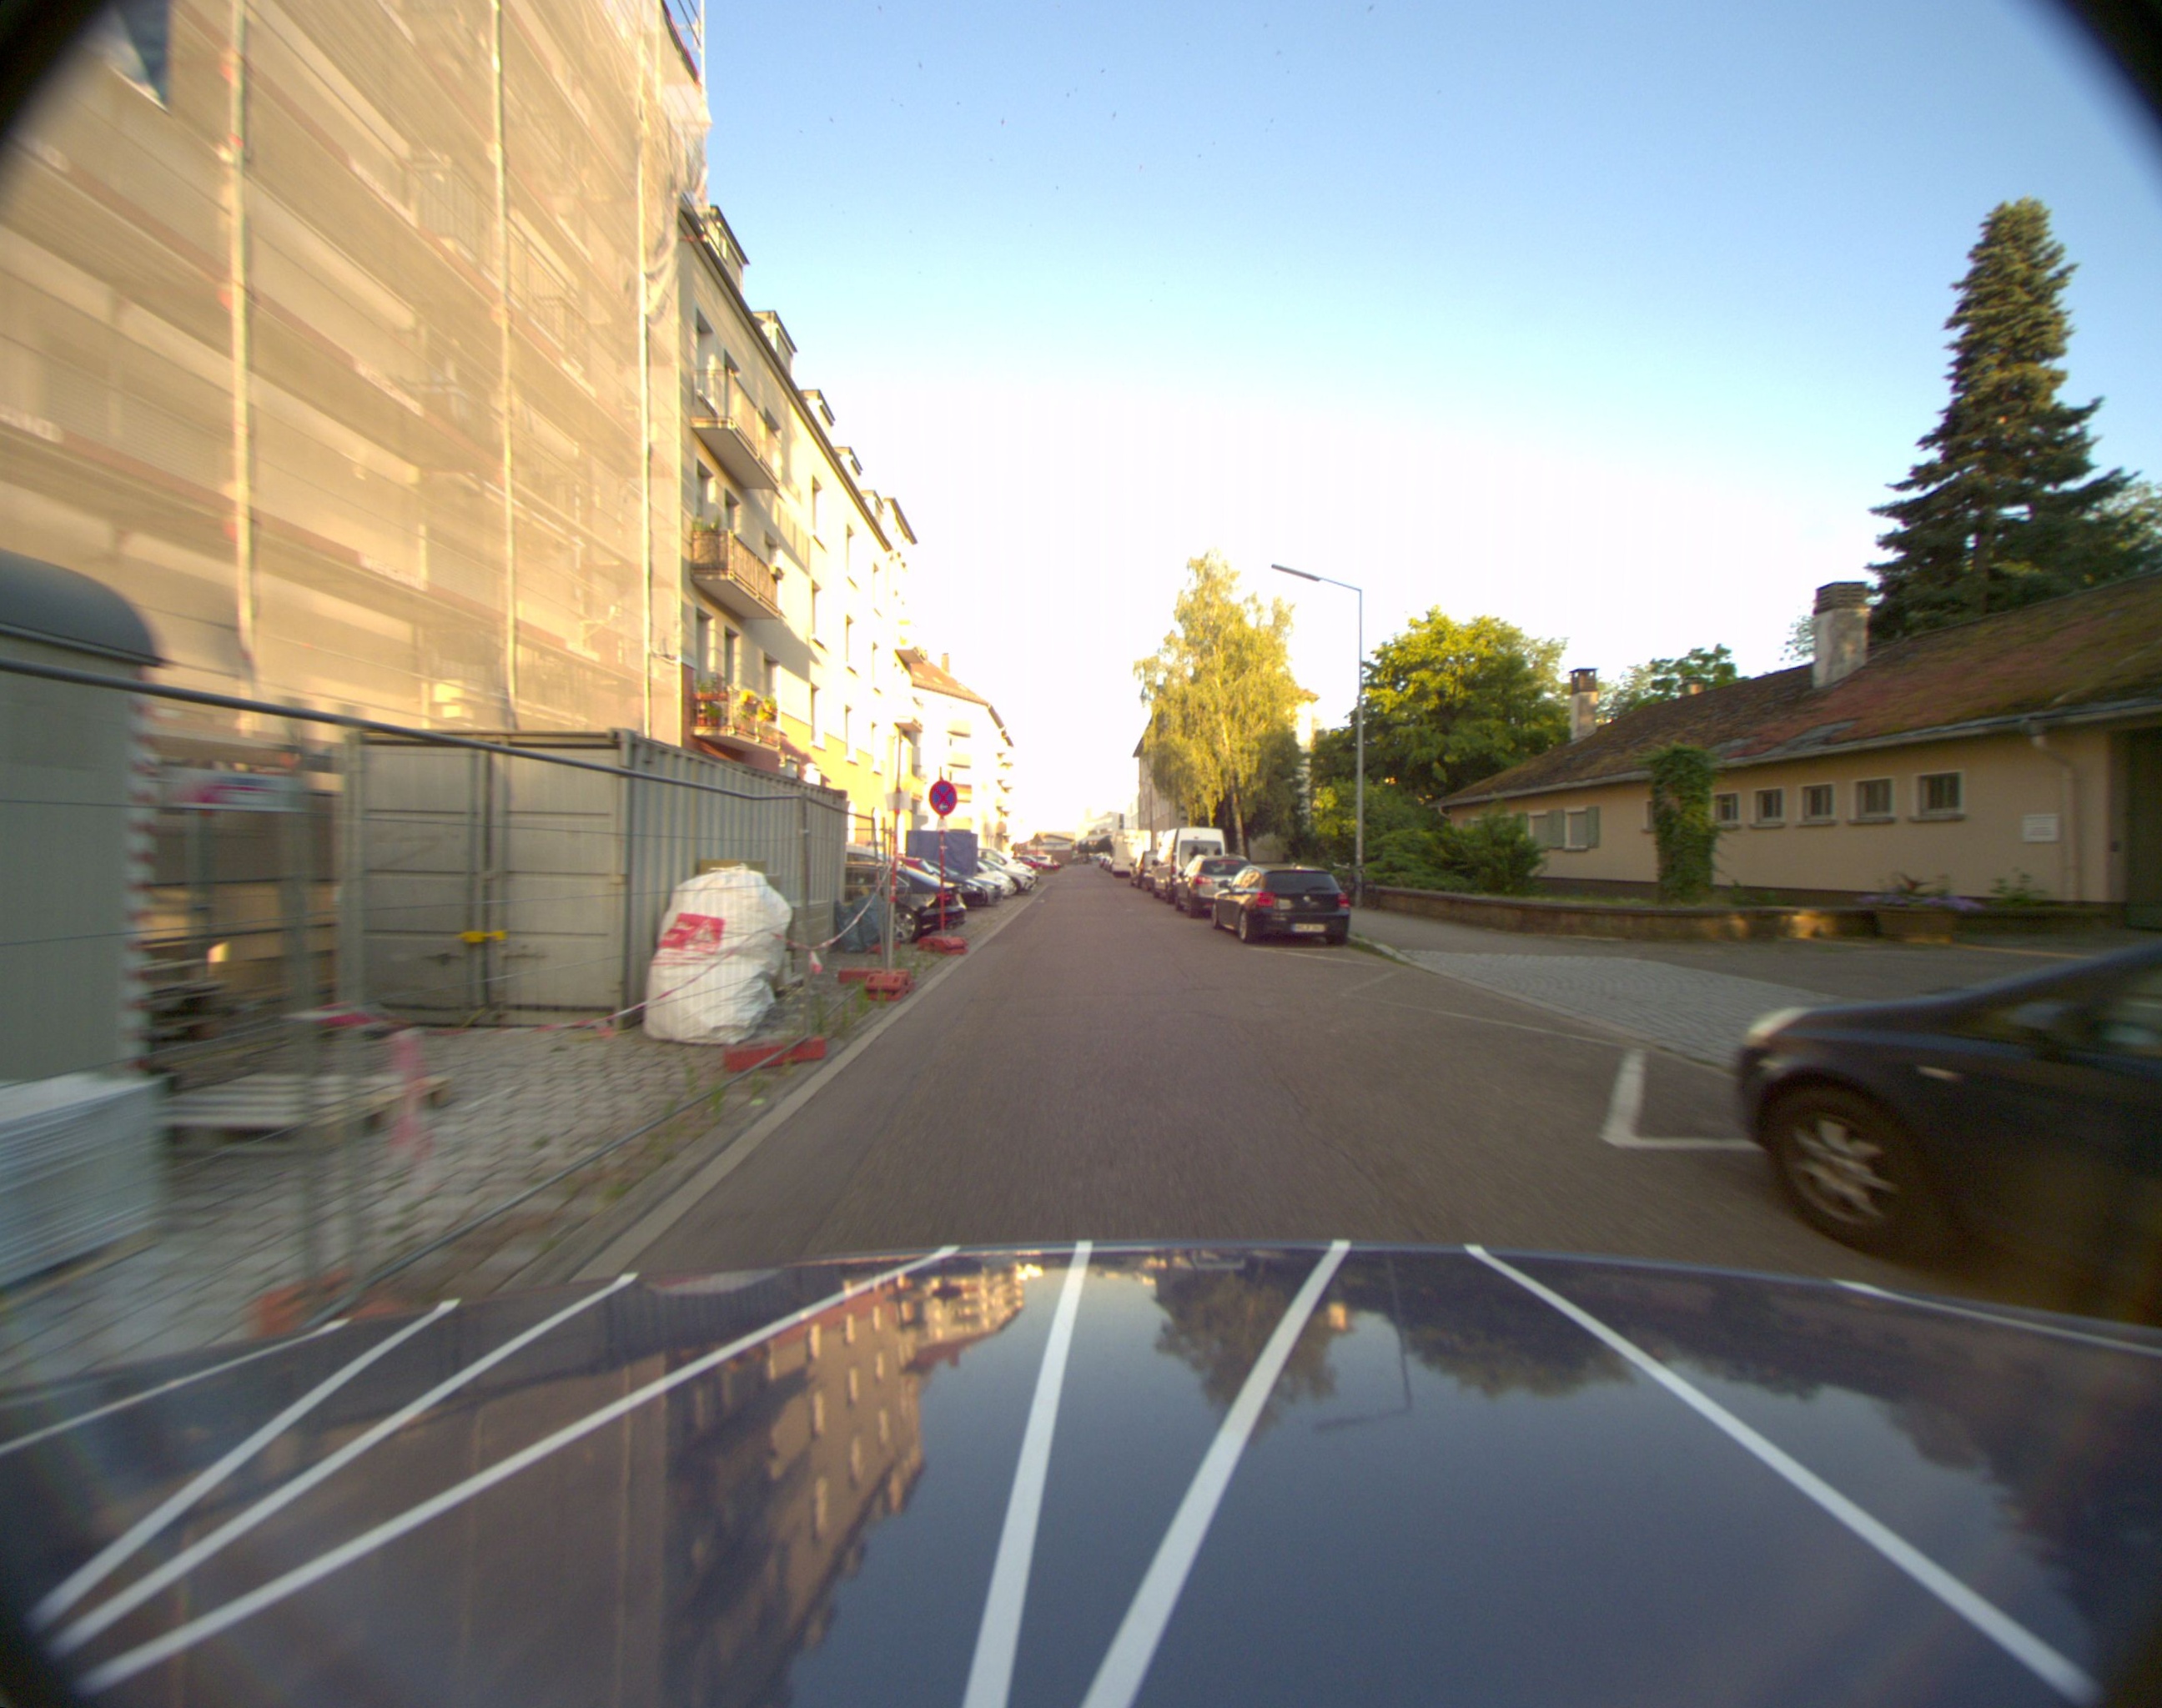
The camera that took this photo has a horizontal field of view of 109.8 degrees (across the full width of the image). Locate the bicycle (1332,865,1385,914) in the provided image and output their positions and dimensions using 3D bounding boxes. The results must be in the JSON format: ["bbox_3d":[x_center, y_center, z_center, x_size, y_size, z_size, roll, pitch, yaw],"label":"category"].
[{"bbox_3d":[6.921,0.860,19.018,0.545,1.111,1.955,-1,0,-1],"label":"bicycle"}]

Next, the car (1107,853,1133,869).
[{"bbox_3d":[3.606,0.613,70.709,1.999,1.436,4.431,-1,0,-2],"label":"car"}]

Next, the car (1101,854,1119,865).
[{"bbox_3d":[3.724,0.695,98.214,1.999,1.481,4.431,-1,0,-2],"label":"car"}]

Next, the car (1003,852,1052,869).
[{"bbox_3d":[-4.898,0.560,69.548,4.311,1.532,1.923,0,0,1],"label":"car"}]

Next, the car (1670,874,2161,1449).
[{"bbox_3d":[3.866,0.840,1.628,1.999,1.444,3.999,-1,0,-3],"label":"car"}]

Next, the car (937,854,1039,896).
[{"bbox_3d":[-3.745,0.844,31.246,3.998,1.630,1.999,0,1,-2],"label":"car"}]

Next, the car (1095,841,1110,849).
[{"bbox_3d":[5.795,-2.317,202.071,3.997,2.002,2.000,0,0,0],"label":"car"}]

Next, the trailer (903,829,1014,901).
[{"bbox_3d":[-4.198,0.372,26.557,3.577,2.323,1.940,2,0,-3],"label":"trailer"}]

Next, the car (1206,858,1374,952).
[{"bbox_3d":[3.711,0.825,14.337,1.998,1.444,4.288,-1,0,0],"label":"car"}]

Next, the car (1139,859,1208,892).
[{"bbox_3d":[3.749,0.842,31.436,1.999,1.182,4.034,-1,0,-5],"label":"car"}]

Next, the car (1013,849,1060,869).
[{"bbox_3d":[-4.496,0.466,77.472,4.685,1.988,2.000,0,0,1],"label":"car"}]

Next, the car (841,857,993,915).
[{"bbox_3d":[-4.578,0.872,21.677,3.975,1.562,1.788,0,0,-3],"label":"car"}]

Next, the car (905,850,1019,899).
[{"bbox_3d":[-4.404,0.749,28.605,3.998,1.718,1.999,0,2,-2],"label":"car"}]

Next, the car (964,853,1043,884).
[{"bbox_3d":[-4.127,0.754,40.928,4.113,1.576,1.854,0,0,-3],"label":"car"}]

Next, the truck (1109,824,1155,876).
[{"bbox_3d":[3.518,-0.283,54.062,2.532,3.334,8.016,2,0,0],"label":"truck"}]

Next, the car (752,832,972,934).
[{"bbox_3d":[-4.654,0.630,16.686,4.278,1.968,1.821,2,-1,-4],"label":"car"}]

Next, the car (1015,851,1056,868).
[{"bbox_3d":[-4.469,0.502,74.564,3.998,1.619,1.784,0,0,-2],"label":"car"}]

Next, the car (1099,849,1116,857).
[{"bbox_3d":[6.310,-0.204,178.945,3.997,1.739,2.000,0,0,1],"label":"car"}]

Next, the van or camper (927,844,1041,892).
[{"bbox_3d":[-4.272,0.600,33.973,4.846,2.084,2.040,0,0,-1],"label":"van or camper"}]

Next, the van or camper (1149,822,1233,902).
[{"bbox_3d":[3.656,0.235,26.325,1.999,2.442,6.082,0,0,0],"label":"van or camper"}]

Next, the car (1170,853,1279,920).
[{"bbox_3d":[3.644,0.761,20.195,1.998,1.510,4.788,-1,0,0],"label":"car"}]

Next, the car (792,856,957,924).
[{"bbox_3d":[-5.097,0.859,19.127,3.702,1.601,1.745,0,1,-2],"label":"car"}]

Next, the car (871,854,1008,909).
[{"bbox_3d":[-4.371,0.842,23.981,3.998,1.628,1.902,0,0,-3],"label":"car"}]

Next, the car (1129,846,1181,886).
[{"bbox_3d":[3.512,0.555,36.789,1.915,1.777,4.948,1,0,-1],"label":"car"}]

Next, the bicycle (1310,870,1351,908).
[{"bbox_3d":[6.971,0.945,21.279,0.544,0.959,1.955,-1,0,2],"label":"bicycle"}]

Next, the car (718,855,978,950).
[{"bbox_3d":[-4.135,0.833,13.986,4.163,1.606,1.872,0,0,1],"label":"car"}]
